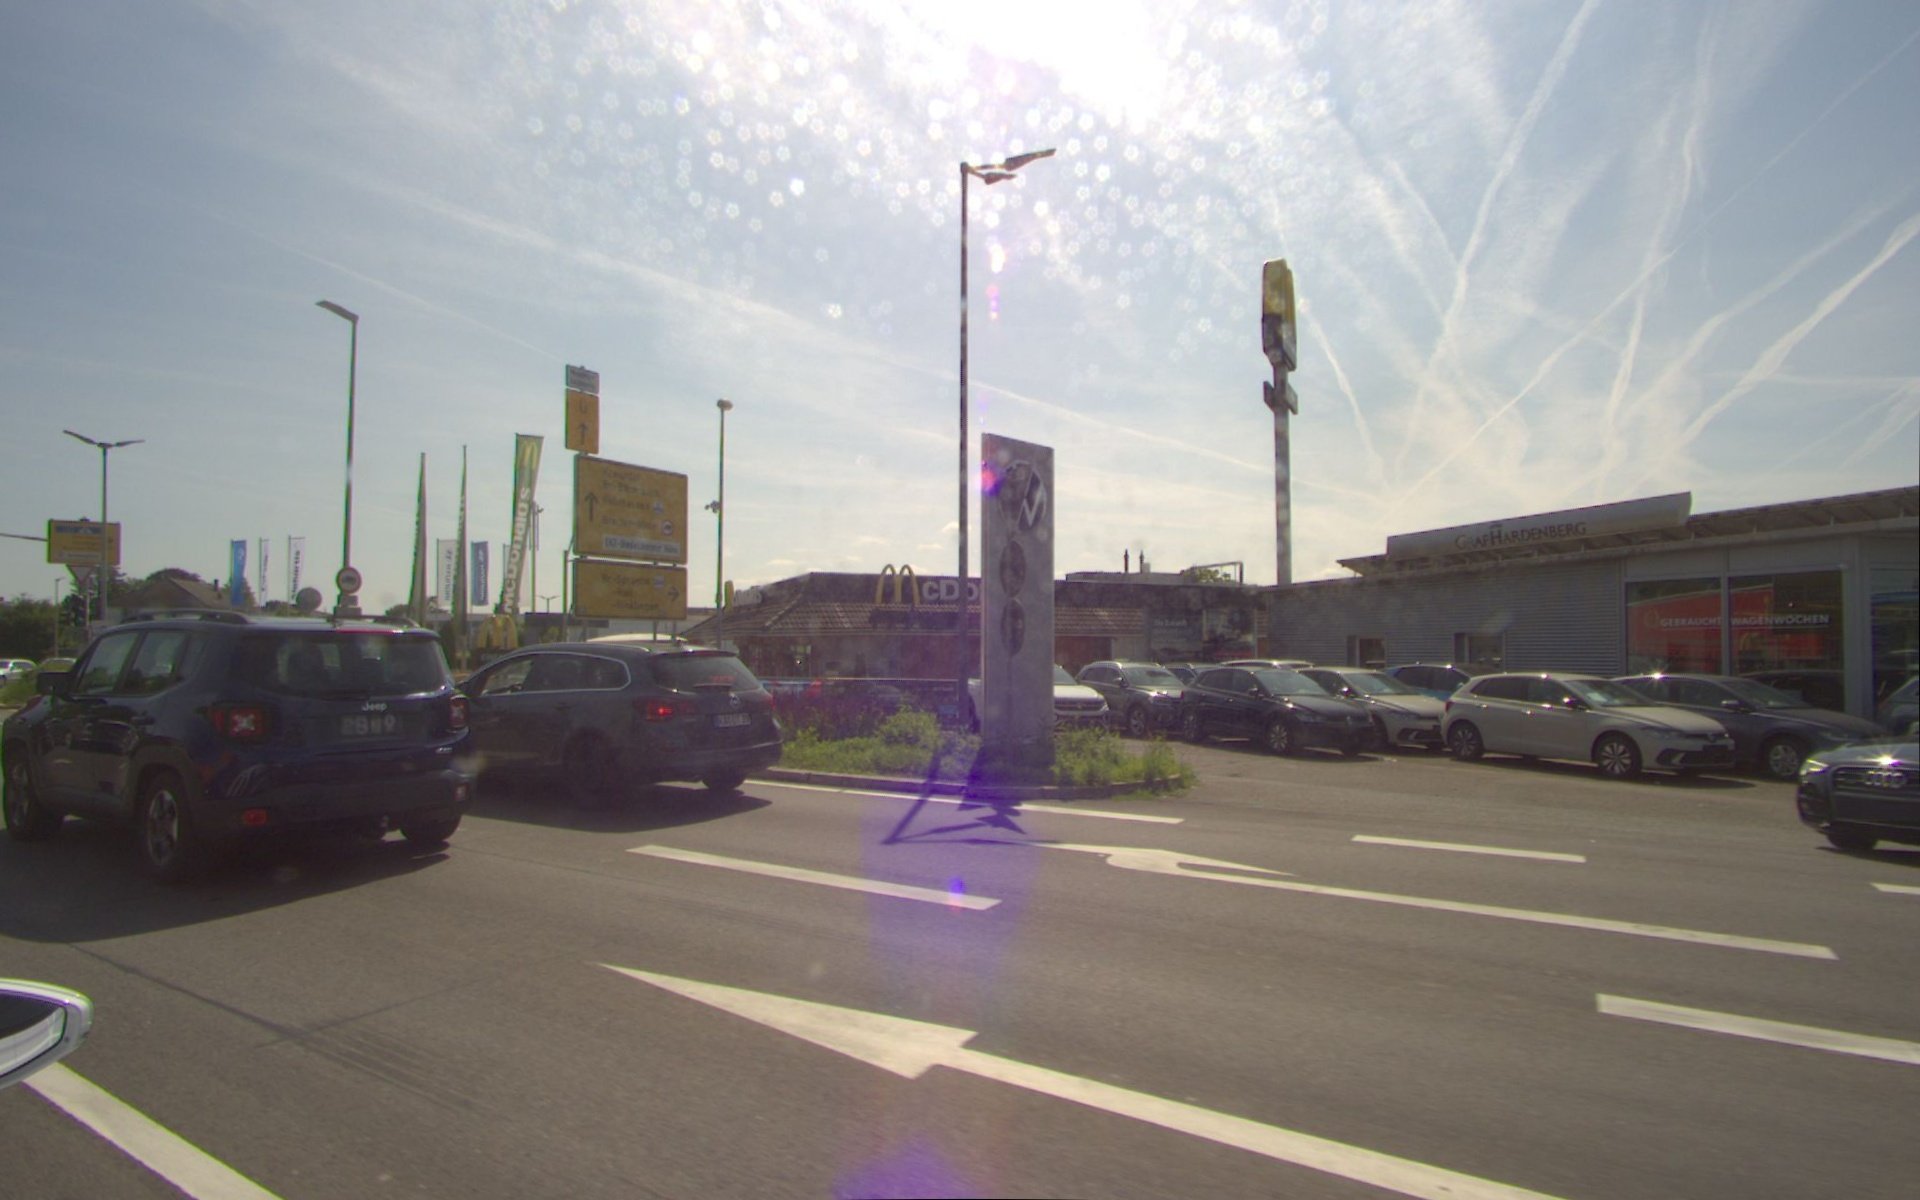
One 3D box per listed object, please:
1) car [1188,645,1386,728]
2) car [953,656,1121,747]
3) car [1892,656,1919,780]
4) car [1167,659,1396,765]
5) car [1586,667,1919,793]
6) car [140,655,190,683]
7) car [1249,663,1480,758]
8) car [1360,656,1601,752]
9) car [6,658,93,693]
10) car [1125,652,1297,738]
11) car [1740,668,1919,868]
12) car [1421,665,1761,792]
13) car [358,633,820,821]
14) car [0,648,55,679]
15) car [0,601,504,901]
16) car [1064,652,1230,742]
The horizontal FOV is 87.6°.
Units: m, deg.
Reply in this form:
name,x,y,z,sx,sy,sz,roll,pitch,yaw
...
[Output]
name,x,y,z,sx,sy,sz,roll,pitch,yaw
car,7.675,1.974,24.049,1.881,1.692,4.805,0,-2,-22
car,1.487,2.030,21.080,1.830,1.596,4.222,0,-2,-22
car,14.114,1.591,12.243,1.741,1.692,4.027,0,-2,2
car,5.652,1.903,18.131,1.747,1.552,4.079,0,-2,-22
car,11.880,1.837,15.174,1.721,1.495,3.785,0,-2,-22
car,-49.117,4.270,61.955,1.756,1.594,3.692,4,-5,-29
car,7.622,2.029,19.328,1.767,1.469,4.143,0,-2,-22
car,9.879,1.908,19.358,1.747,1.538,3.949,0,-2,-22
car,-43.690,3.631,48.174,1.970,1.594,3.987,3,-5,-26
car,5.658,2.100,23.151,1.747,1.692,4.159,0,-2,-22
car,8.748,1.299,7.545,4.729,1.347,1.967,3,-7,-13
car,9.474,1.835,15.476,1.721,1.511,4.252,0,-2,-22
car,-3.784,1.108,10.135,4.380,1.539,1.993,-1,-2,28
car,-48.400,3.224,50.652,1.966,1.522,4.995,2,-5,-19
car,-5.363,0.898,7.395,3.943,1.675,1.767,-1,-2,32
car,3.975,2.032,21.946,1.747,1.692,3.899,0,-2,-22
